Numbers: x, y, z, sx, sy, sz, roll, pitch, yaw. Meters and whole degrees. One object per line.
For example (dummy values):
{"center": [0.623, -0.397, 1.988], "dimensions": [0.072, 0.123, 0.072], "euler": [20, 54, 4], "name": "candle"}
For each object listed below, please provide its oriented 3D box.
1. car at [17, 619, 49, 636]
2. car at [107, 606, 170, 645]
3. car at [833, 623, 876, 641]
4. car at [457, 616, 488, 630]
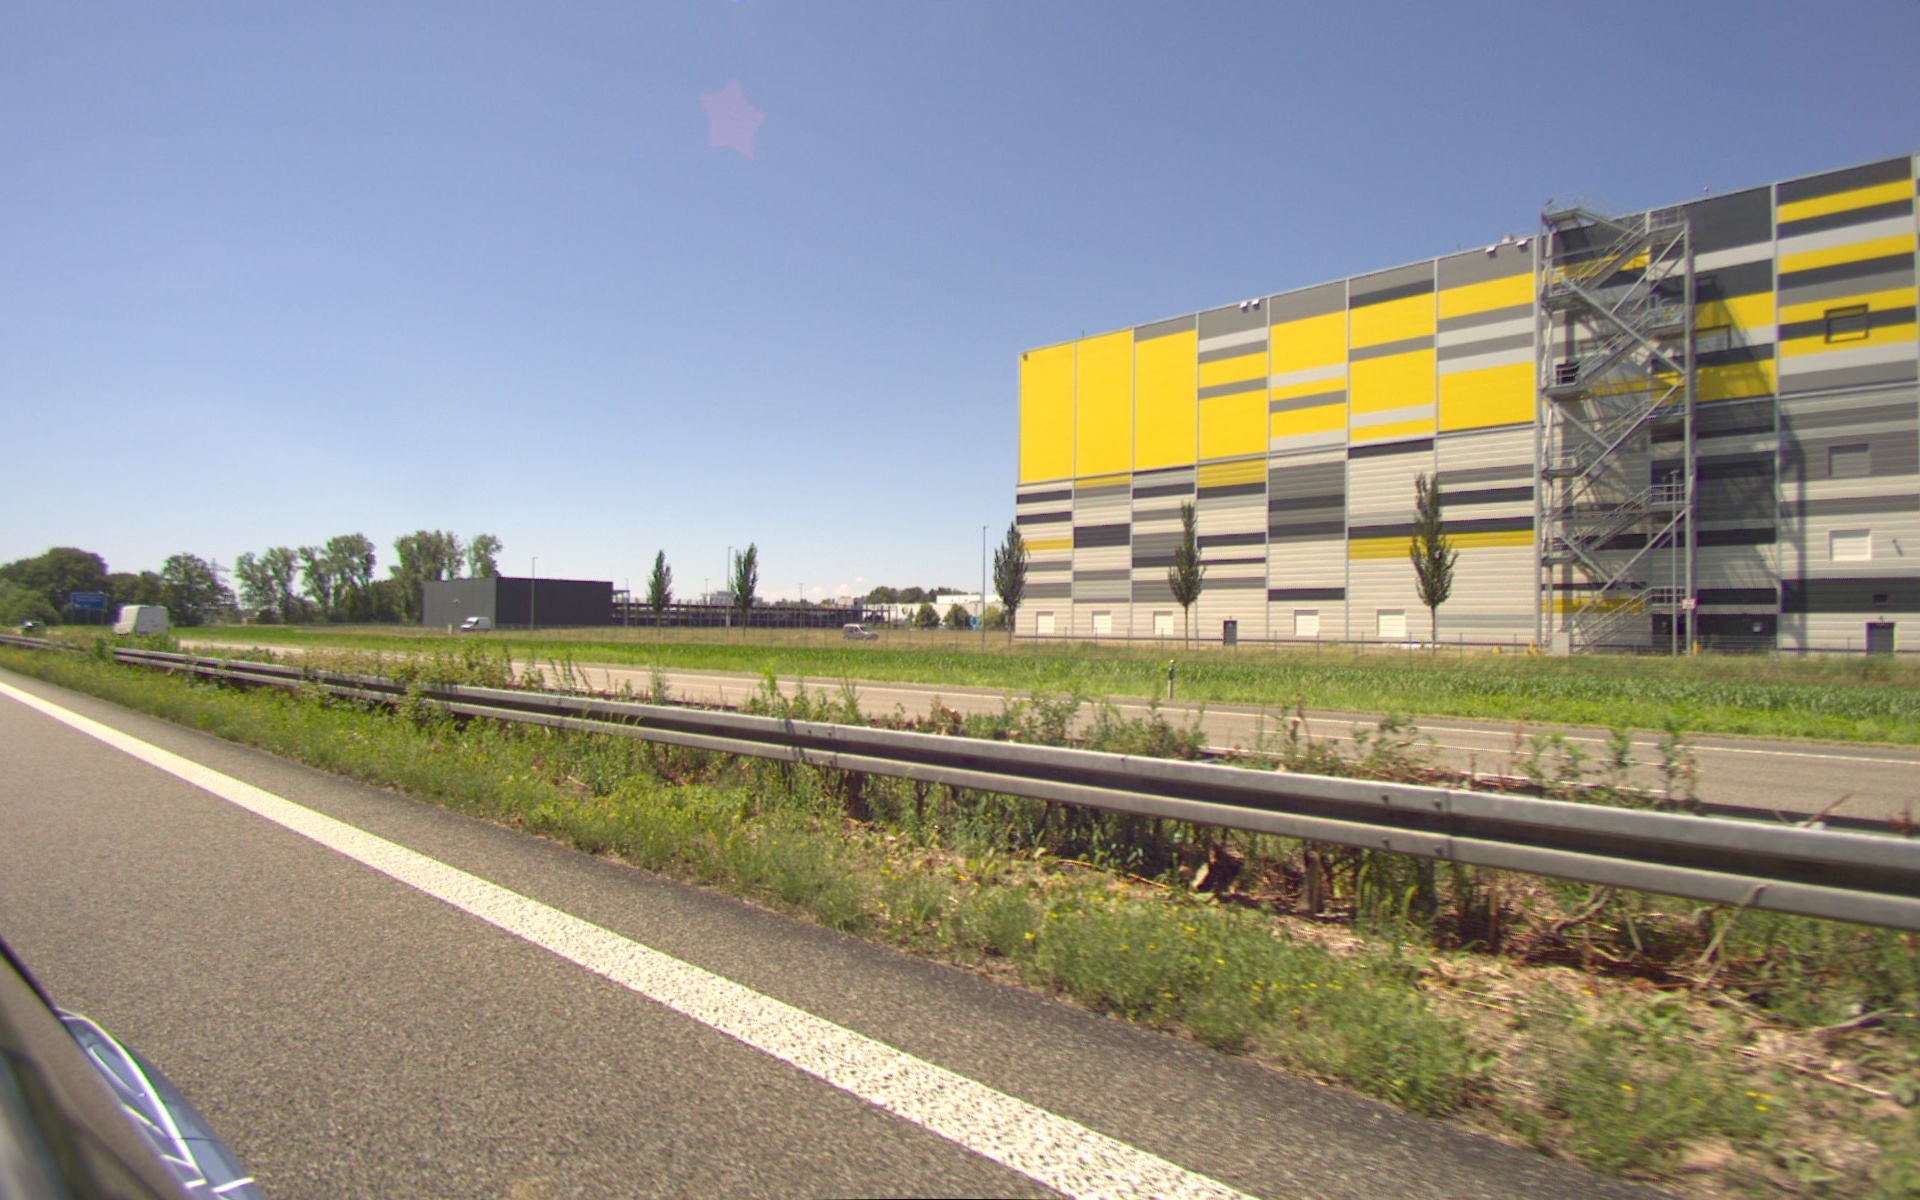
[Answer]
{"center": [-99.833, 2.959, 108.959], "dimensions": [4.908, 1.759, 1.993], "euler": [-1, -3, 42], "name": "car"}
{"center": [-56.430, 1.769, 69.423], "dimensions": [7.931, 2.574, 2.046], "euler": [-1, -3, 42], "name": "car"}
{"center": [-10.635, 3.183, 101.746], "dimensions": [4.267, 1.750, 1.808], "euler": [-1, -3, 41], "name": "car"}
{"center": [-83.002, 3.905, 172.213], "dimensions": [6.079, 2.265, 2.527], "euler": [-1, -3, 41], "name": "car"}
